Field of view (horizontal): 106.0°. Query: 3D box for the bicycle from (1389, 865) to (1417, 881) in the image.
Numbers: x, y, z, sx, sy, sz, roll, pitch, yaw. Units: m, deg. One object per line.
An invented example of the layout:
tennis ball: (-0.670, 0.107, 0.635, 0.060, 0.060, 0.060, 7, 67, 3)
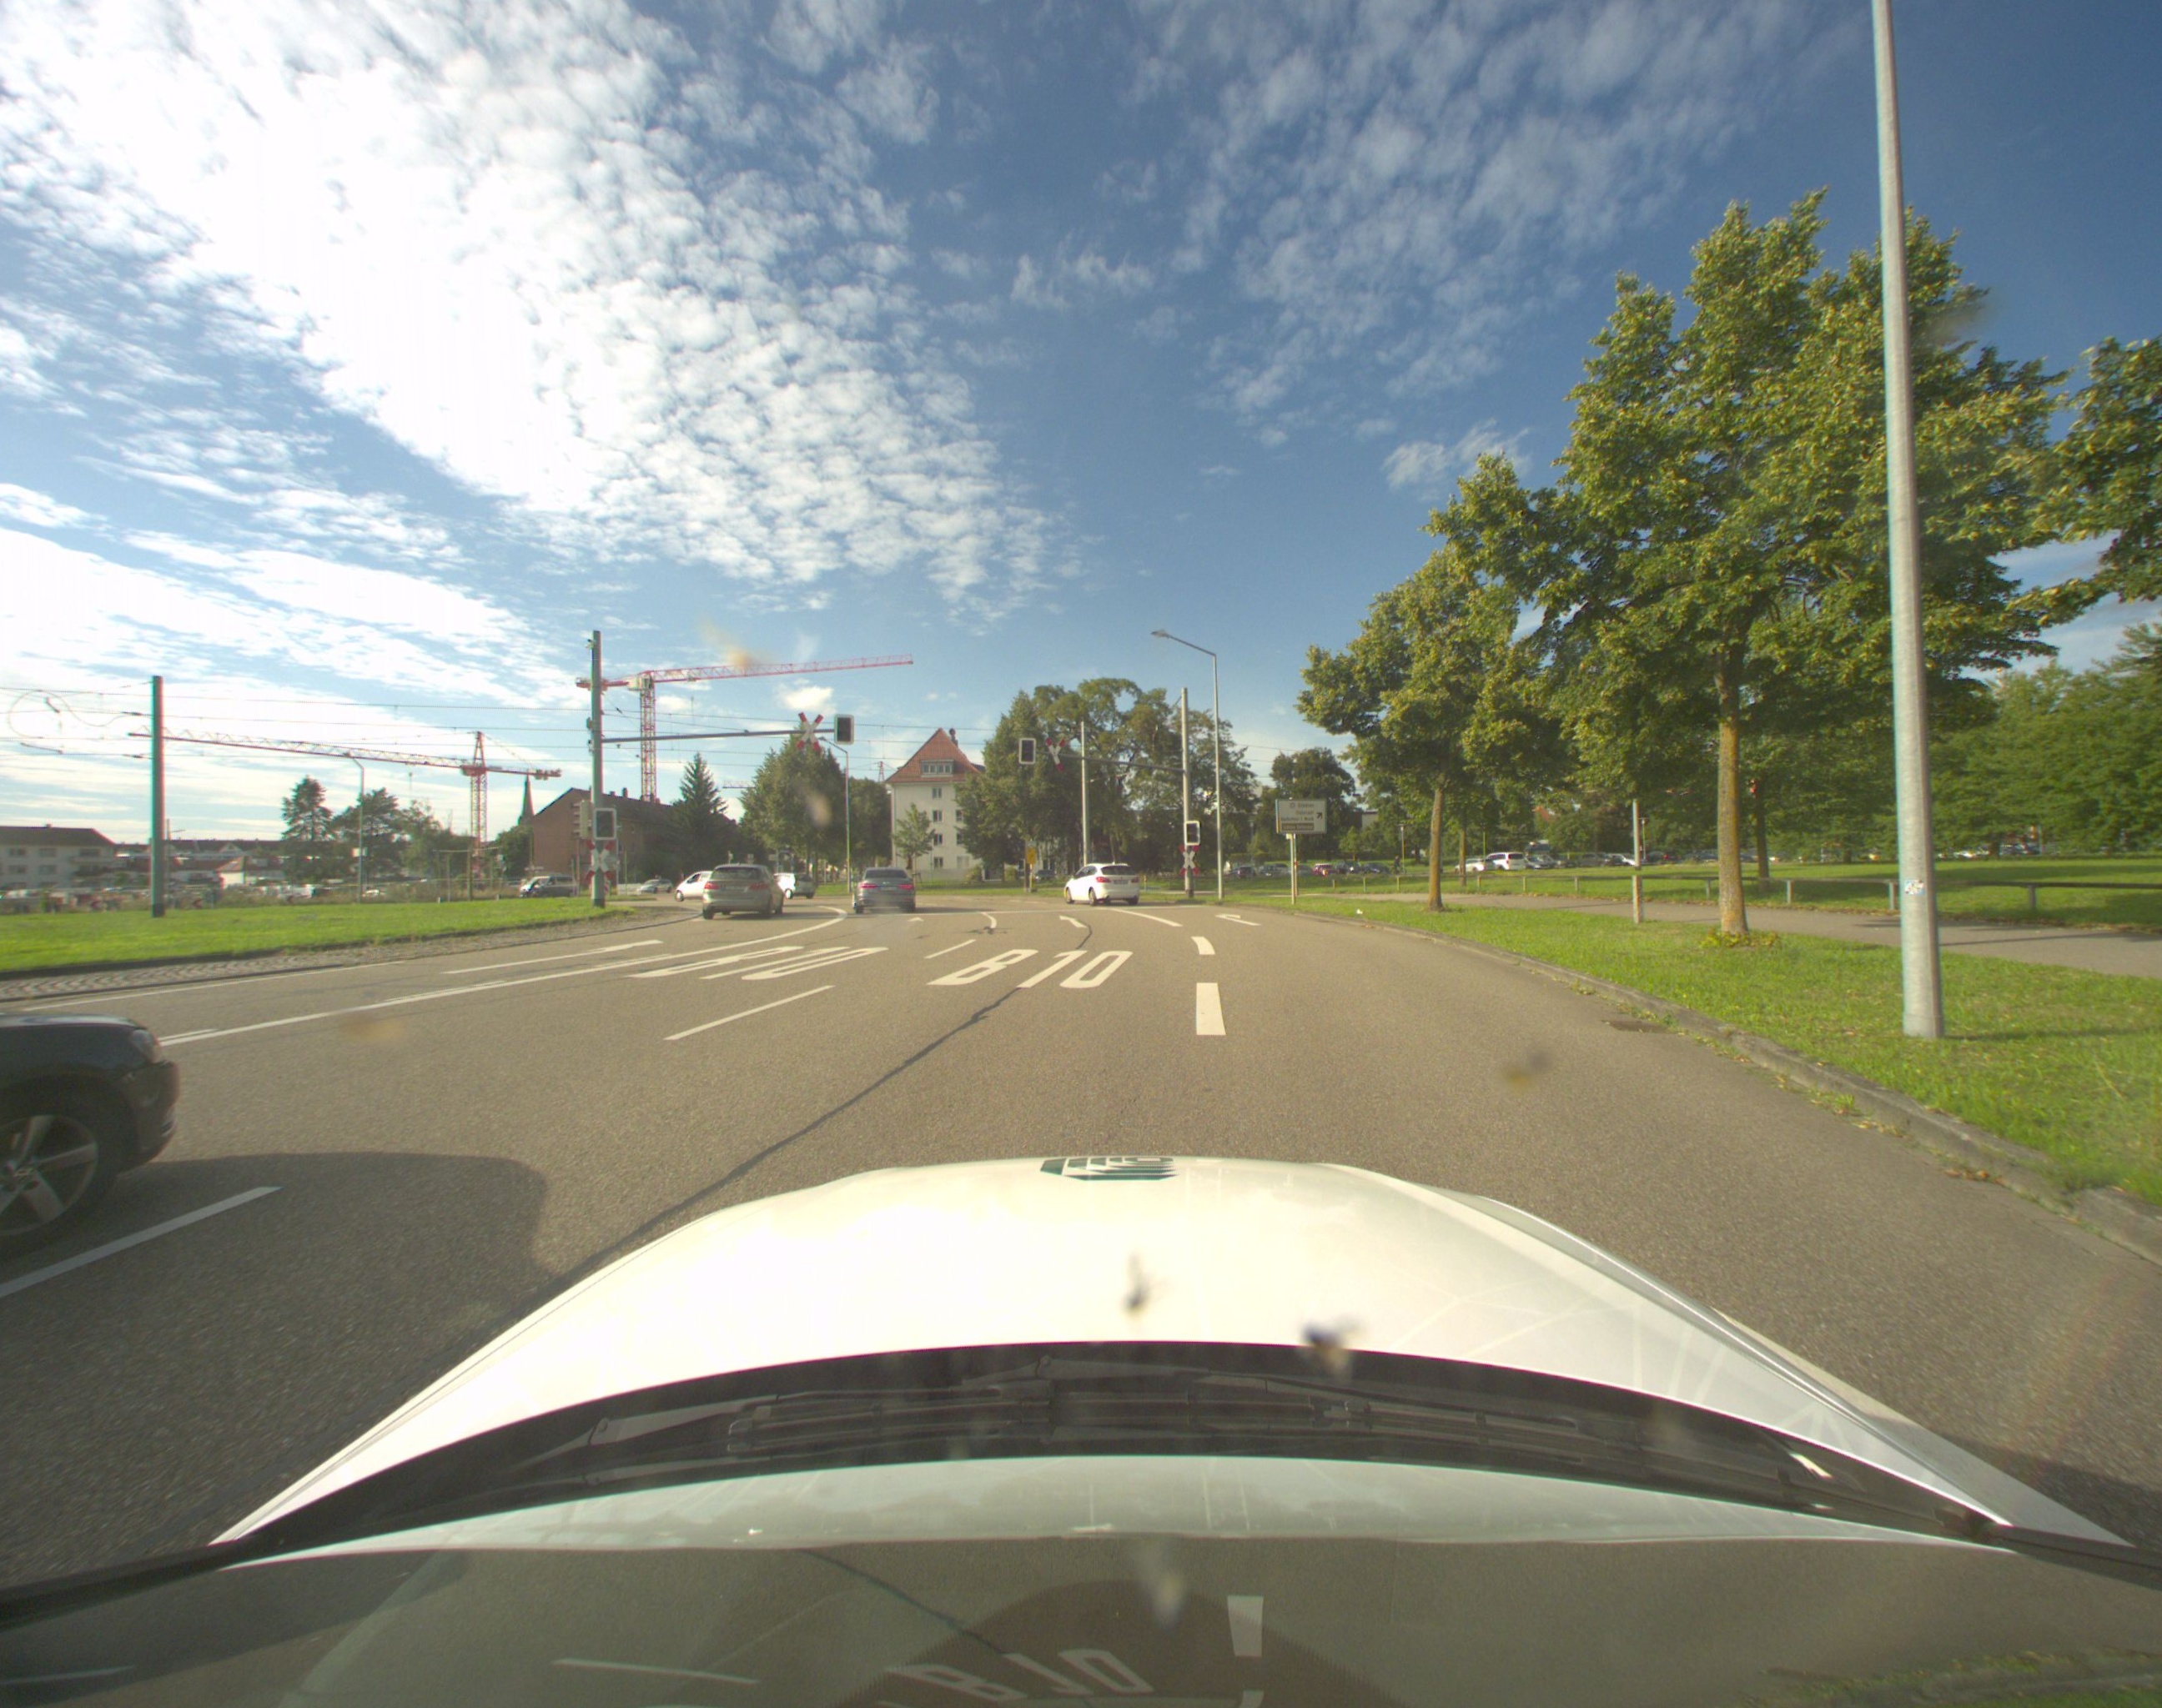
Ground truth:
bicycle: (25.940, 1.538, 65.615, 2.537, 1.222, 0.707, -1, -1, -32)

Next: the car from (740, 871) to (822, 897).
car: (-16.907, 1.676, 45.832, 4.398, 1.426, 1.867, -1, -2, 28)

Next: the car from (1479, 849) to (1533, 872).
car: (39.109, 0.634, 75.120, 2.302, 2.007, 5.112, -2, -1, 0)

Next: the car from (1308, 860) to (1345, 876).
car: (22.189, 1.277, 73.822, 1.851, 1.363, 4.464, -2, -1, -3)

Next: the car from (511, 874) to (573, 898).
car: (-44.683, 2.624, 67.644, 1.889, 1.903, 4.661, -1, -2, 1)

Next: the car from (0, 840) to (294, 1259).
car: (-4.998, 0.725, 1.732, 1.988, 1.566, 4.842, 0, 0, -1)

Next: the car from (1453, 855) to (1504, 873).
car: (36.365, 0.928, 74.621, 1.855, 1.515, 4.452, -1, -1, -10)

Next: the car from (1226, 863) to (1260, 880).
car: (14.421, 1.570, 72.871, 1.851, 1.359, 4.728, -2, -1, -3)

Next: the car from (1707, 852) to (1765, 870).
car: (61.789, 0.697, 76.937, 1.847, 1.541, 4.469, -2, -1, 1)

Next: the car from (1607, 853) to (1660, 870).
car: (51.483, 0.745, 75.968, 1.849, 1.504, 4.469, -2, -1, 1)

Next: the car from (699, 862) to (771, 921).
car: (-10.148, 1.066, 24.089, 1.774, 1.572, 4.038, 0, -2, -21)

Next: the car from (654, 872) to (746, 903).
car: (-19.508, 1.707, 41.700, 4.399, 1.478, 1.867, -1, -2, 25)

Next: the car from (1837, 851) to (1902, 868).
car: (76.085, 0.573, 78.673, 1.847, 1.541, 4.469, -2, -1, 1)

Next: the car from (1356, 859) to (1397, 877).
car: (26.898, 1.290, 74.225, 1.851, 1.515, 4.464, -2, -1, -3)

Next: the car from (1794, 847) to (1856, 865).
car: (71.051, 0.208, 77.885, 1.847, 1.541, 4.469, -2, -1, 1)

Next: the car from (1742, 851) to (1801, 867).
car: (65.663, 0.513, 77.505, 1.847, 1.454, 4.469, -2, -1, 1)

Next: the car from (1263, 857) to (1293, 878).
car: (20.653, 1.462, 85.544, 1.866, 2.014, 4.808, 0, -2, -1)

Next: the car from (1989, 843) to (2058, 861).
car: (91.839, -0.180, 79.466, 1.843, 1.541, 4.478, -2, -1, 8)

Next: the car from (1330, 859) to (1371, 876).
car: (24.323, 1.237, 73.797, 1.851, 1.515, 4.939, -2, -1, -3)

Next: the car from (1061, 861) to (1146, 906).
car: (0.771, 1.114, 31.333, 1.856, 1.572, 4.426, 0, -2, -19)

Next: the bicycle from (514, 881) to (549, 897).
bicycle: (-42.201, 2.697, 62.593, 2.155, 1.137, 0.765, -2, -1, -28)

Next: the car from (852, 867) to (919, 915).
car: (-6.596, 1.190, 27.148, 1.855, 1.445, 4.686, 0, -2, -17)

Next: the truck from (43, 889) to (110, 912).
truck: (-109.312, 5.094, 88.662, 5.586, 2.328, 2.069, -2, -2, 9)

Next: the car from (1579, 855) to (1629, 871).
car: (48.755, 0.855, 75.997, 1.849, 1.399, 4.469, -2, -1, 1)

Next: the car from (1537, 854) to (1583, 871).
car: (44.373, 0.820, 75.528, 2.020, 1.515, 4.117, -2, -1, 5)

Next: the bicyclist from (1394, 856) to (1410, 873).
bicyclist: (25.817, 0.835, 65.586, 1.009, 1.355, 0.707, -1, -1, -33)

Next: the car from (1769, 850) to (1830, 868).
car: (68.294, 0.485, 77.536, 1.847, 1.541, 4.469, -2, -1, 1)

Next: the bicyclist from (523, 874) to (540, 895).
bicyclist: (-42.222, 2.351, 62.595, 0.962, 1.575, 0.765, -2, -1, -28)

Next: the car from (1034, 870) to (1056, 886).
car: (-3.179, 2.086, 71.336, 1.851, 1.381, 4.510, -2, -1, -3)

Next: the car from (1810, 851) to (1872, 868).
car: (73.323, 0.556, 78.633, 1.847, 1.541, 4.469, -2, -1, 1)

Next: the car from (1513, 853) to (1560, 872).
car: (42.166, 0.796, 75.524, 2.086, 1.674, 4.475, -2, -1, 5)

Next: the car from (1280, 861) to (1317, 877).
car: (19.642, 1.343, 73.762, 1.851, 1.358, 4.828, -2, -1, -3)
